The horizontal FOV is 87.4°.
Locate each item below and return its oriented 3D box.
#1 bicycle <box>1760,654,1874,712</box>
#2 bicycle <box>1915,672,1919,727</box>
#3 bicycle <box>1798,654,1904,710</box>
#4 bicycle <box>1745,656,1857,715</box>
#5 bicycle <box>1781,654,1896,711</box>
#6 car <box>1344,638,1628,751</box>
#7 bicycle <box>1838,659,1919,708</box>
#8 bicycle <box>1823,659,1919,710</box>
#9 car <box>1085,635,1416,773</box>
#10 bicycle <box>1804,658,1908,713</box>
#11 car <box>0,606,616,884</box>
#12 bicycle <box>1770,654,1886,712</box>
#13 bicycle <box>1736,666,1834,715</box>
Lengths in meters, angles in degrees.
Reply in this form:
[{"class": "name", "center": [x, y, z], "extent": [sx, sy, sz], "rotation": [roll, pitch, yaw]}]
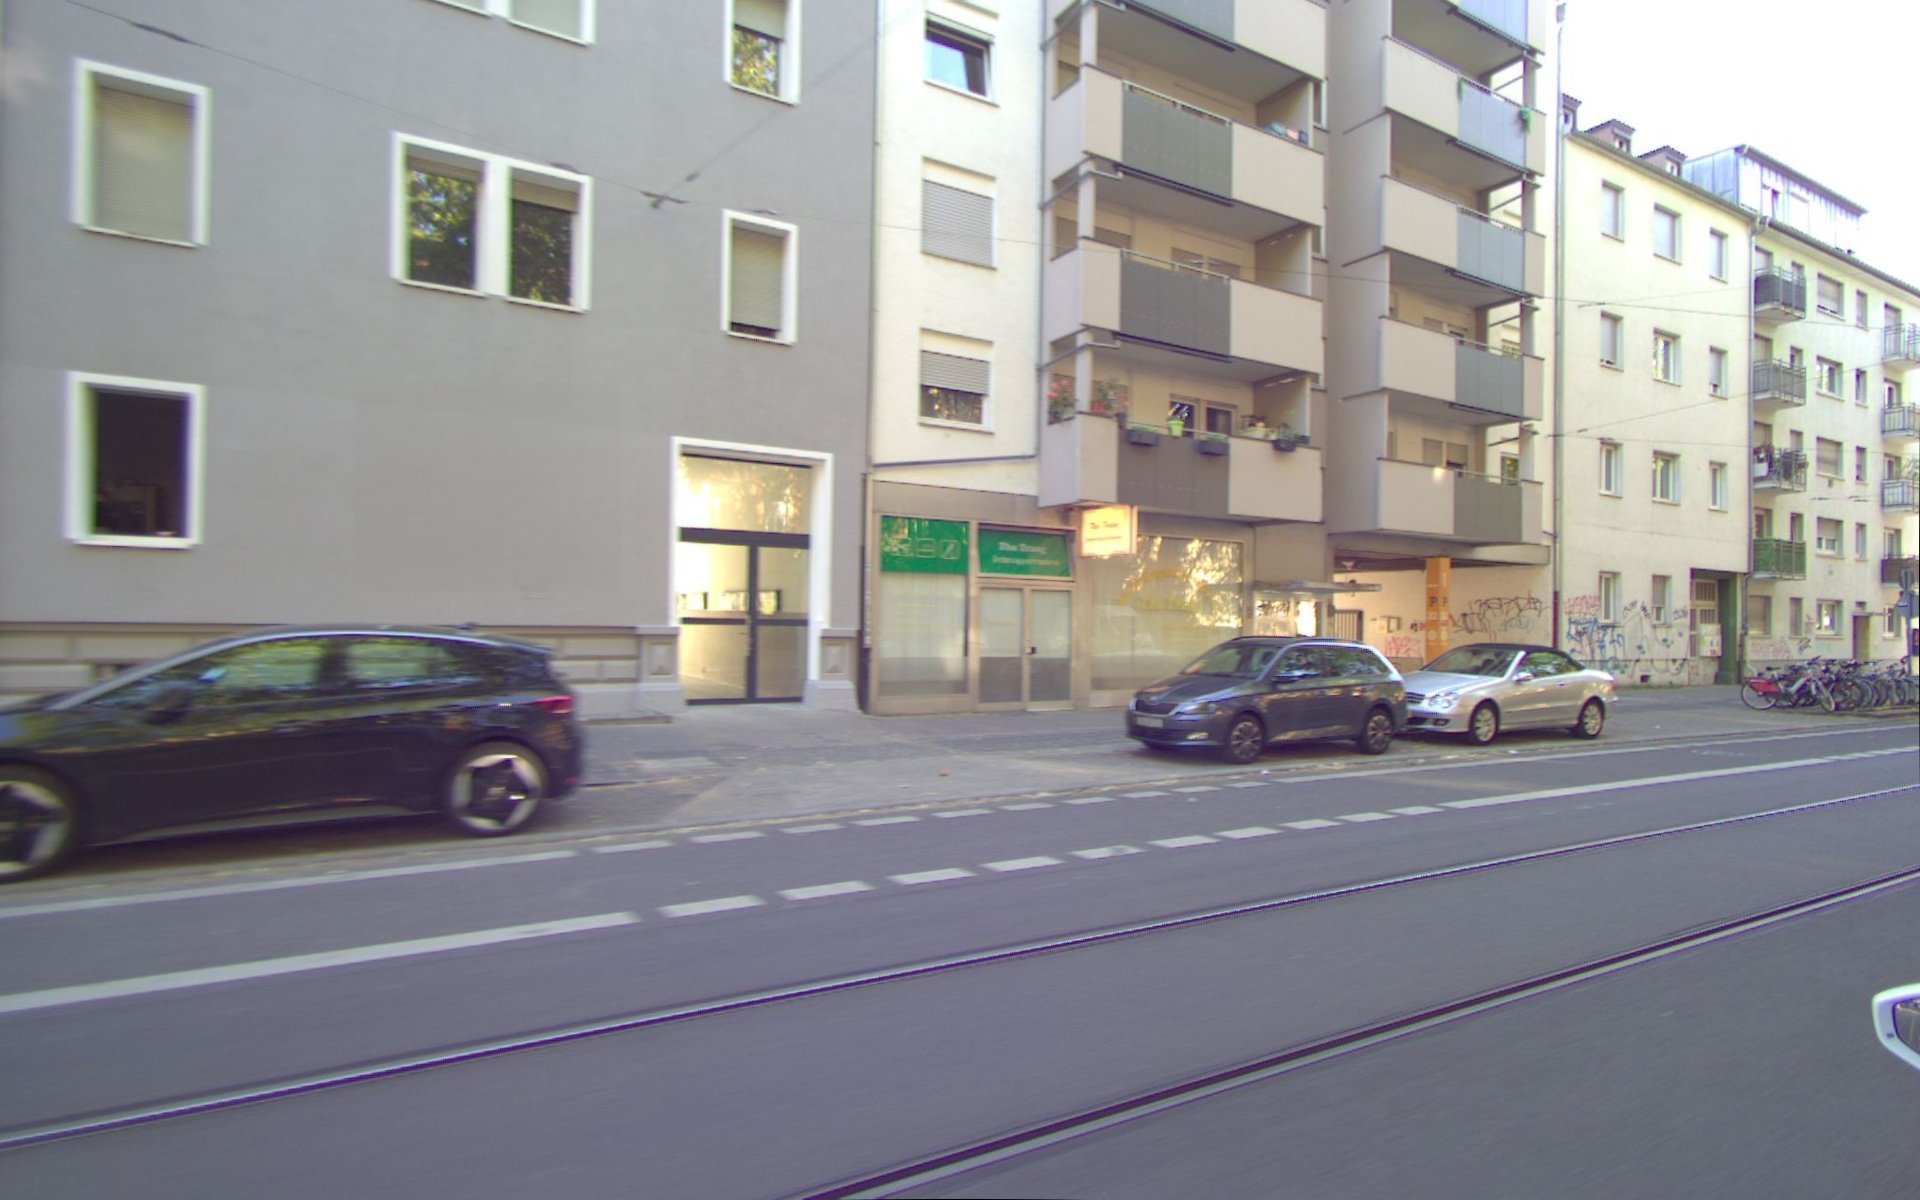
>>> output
[{"class": "bicycle", "center": [18.968, 1.822, 22.295], "extent": [0.433, 1.134, 1.926], "rotation": [1, 0, -23]}, {"class": "bicycle", "center": [18.837, 1.881, 19.117], "extent": [1.924, 1.031, 0.415], "rotation": [2, -3, -30]}, {"class": "bicycle", "center": [20.452, 1.865, 23.106], "extent": [0.418, 1.134, 1.815], "rotation": [1, 0, -23]}, {"class": "bicycle", "center": [18.402, 1.841, 22.027], "extent": [0.396, 1.134, 1.889], "rotation": [1, 0, -23]}, {"class": "bicycle", "center": [19.866, 1.848, 22.764], "extent": [0.418, 1.134, 1.964], "rotation": [1, 0, -23]}, {"class": "car", "center": [8.213, 1.371, 15.567], "extent": [4.672, 1.510, 1.682], "rotation": [2, -2, -30]}, {"class": "bicycle", "center": [22.117, 1.981, 23.879], "extent": [0.396, 1.051, 1.889], "rotation": [1, 0, -23]}, {"class": "bicycle", "center": [21.602, 1.966, 23.689], "extent": [0.396, 1.051, 1.889], "rotation": [1, 0, -23]}, {"class": "car", "center": [3.824, 1.231, 13.017], "extent": [4.193, 1.510, 1.784], "rotation": [2, -2, -32]}, {"class": "bicycle", "center": [20.713, 1.962, 23.267], "extent": [0.418, 1.134, 1.785], "rotation": [1, 0, -23]}, {"class": "car", "center": [-4.892, 0.907, 7.469], "extent": [4.155, 1.622, 1.647], "rotation": [2, 0, -32]}, {"class": "bicycle", "center": [19.437, 1.836, 22.547], "extent": [0.433, 1.134, 1.956], "rotation": [1, 0, -23]}, {"class": "bicycle", "center": [17.869, 1.954, 21.787], "extent": [1.601, 0.929, 0.400], "rotation": [1, 0, 44]}]
